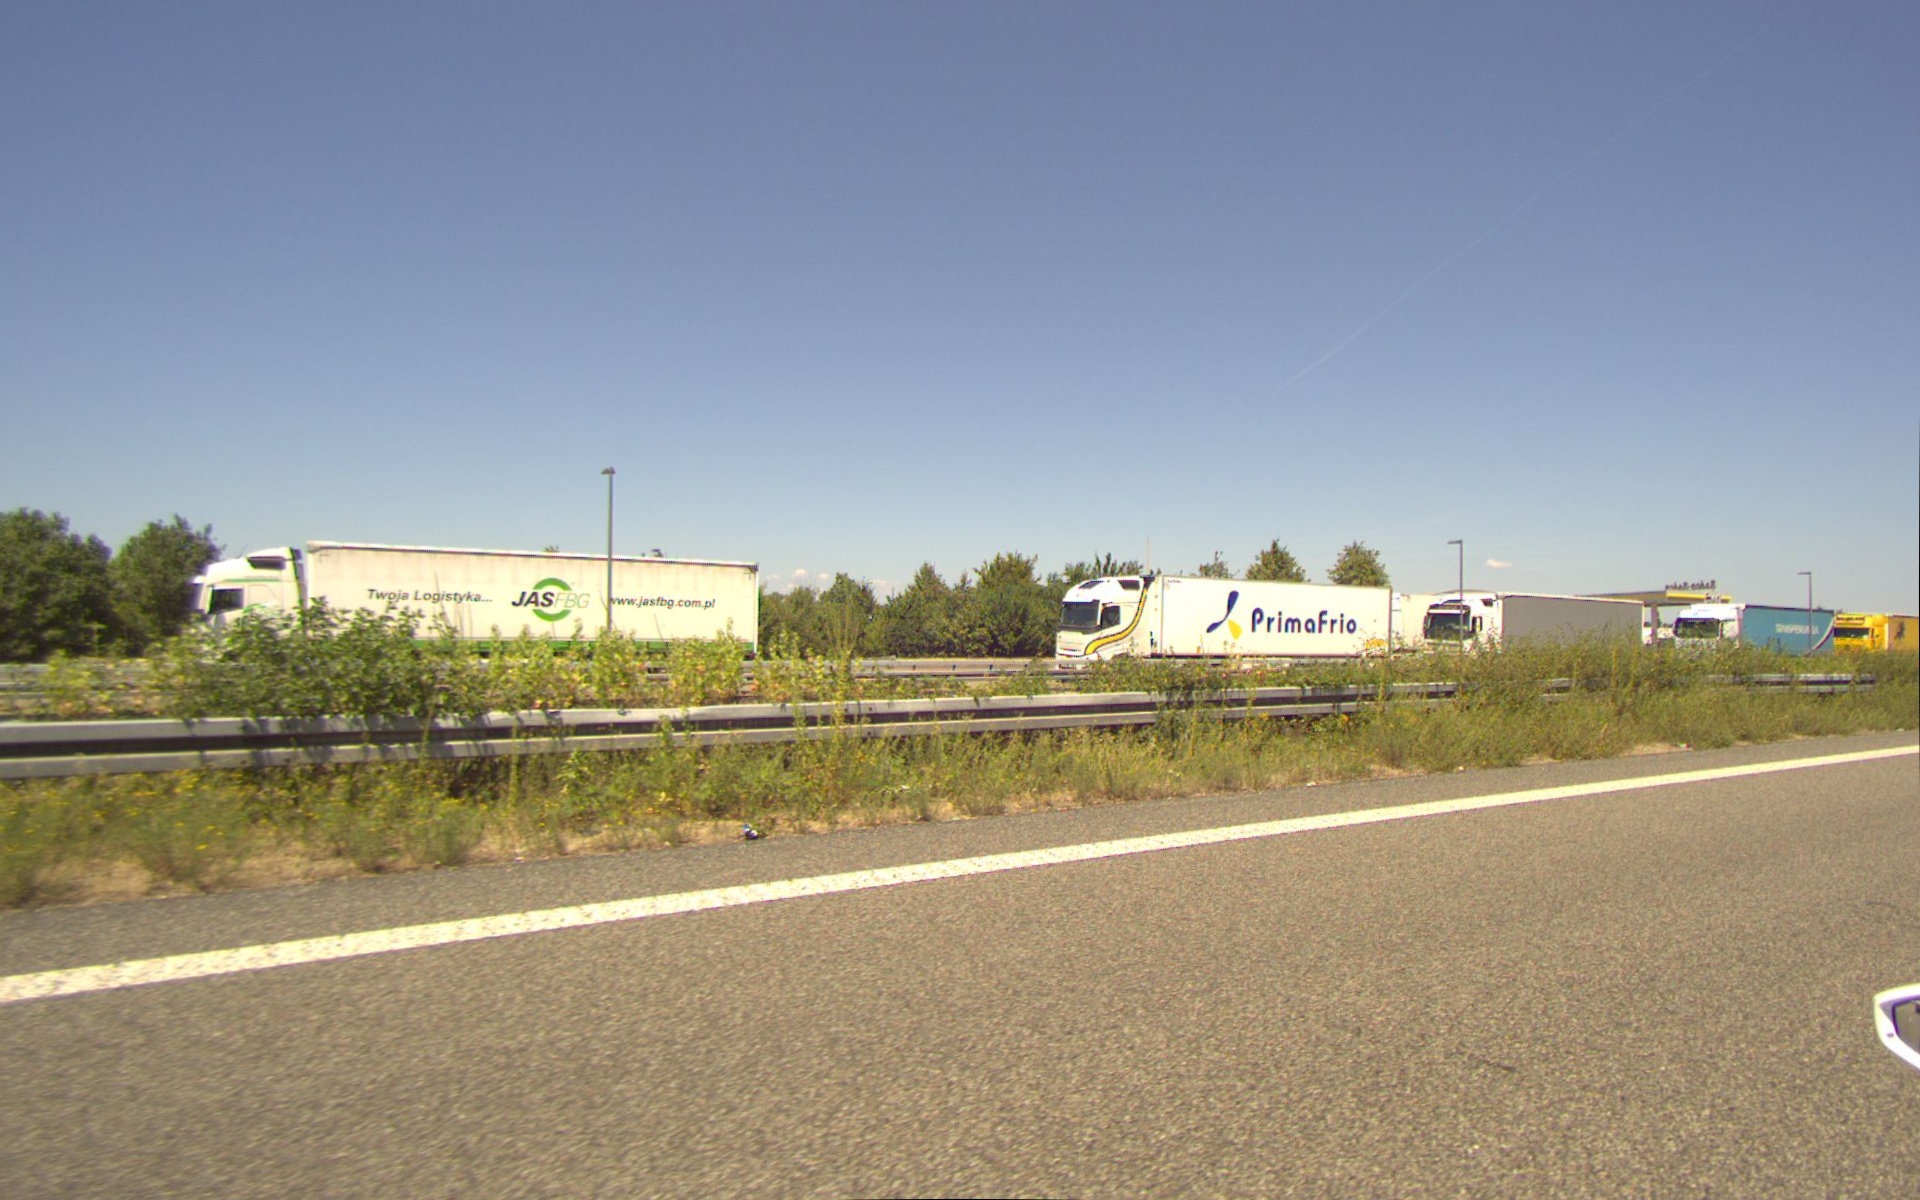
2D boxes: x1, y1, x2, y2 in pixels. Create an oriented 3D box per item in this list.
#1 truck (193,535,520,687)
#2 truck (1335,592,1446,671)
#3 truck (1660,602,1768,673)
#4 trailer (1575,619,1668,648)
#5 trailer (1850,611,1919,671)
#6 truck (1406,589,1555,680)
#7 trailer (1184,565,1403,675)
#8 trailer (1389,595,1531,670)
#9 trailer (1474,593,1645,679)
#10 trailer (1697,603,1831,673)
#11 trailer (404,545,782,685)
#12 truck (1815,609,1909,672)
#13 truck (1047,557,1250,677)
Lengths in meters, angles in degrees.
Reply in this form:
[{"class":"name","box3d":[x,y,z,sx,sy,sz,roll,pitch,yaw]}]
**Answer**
[{"class":"truck","box3d":[-18.337,0.403,31.169,8.219,4.207,3.080,2,0,-30]},{"class":"truck","box3d":[23.523,1.697,54.865,5.677,4.059,2.683,2,0,-30]},{"class":"truck","box3d":[46.731,2.328,62.220,7.008,4.127,2.835,2,0,-31]},{"class":"trailer","box3d":[91.872,4.657,139.612,10.845,3.568,3.003,2,0,0]},{"class":"trailer","box3d":[72.313,3.132,77.050,10.956,4.276,2.819,2,0,-31]},{"class":"truck","box3d":[25.958,1.706,49.982,7.420,4.213,3.100,2,0,-31]},{"class":"trailer","box3d":[14.359,0.901,42.769,10.393,4.275,2.586,2,0,-31]},{"class":"trailer","box3d":[29.008,1.875,58.101,9.199,4.059,2.682,2,0,-30]},{"class":"trailer","box3d":[32.226,1.914,53.801,10.891,4.213,3.097,2,0,-31]},{"class":"trailer","box3d":[52.980,2.509,66.034,11.946,4.204,2.819,2,0,-31]},{"class":"trailer","box3d":[-12.362,0.595,34.687,11.870,4.211,3.079,2,0,-31]},{"class":"truck","box3d":[65.599,2.927,72.996,7.827,4.256,2.819,2,0,-31]},{"class":"truck","box3d":[7.330,0.692,38.583,7.844,4.244,2.569,2,0,-30]}]
